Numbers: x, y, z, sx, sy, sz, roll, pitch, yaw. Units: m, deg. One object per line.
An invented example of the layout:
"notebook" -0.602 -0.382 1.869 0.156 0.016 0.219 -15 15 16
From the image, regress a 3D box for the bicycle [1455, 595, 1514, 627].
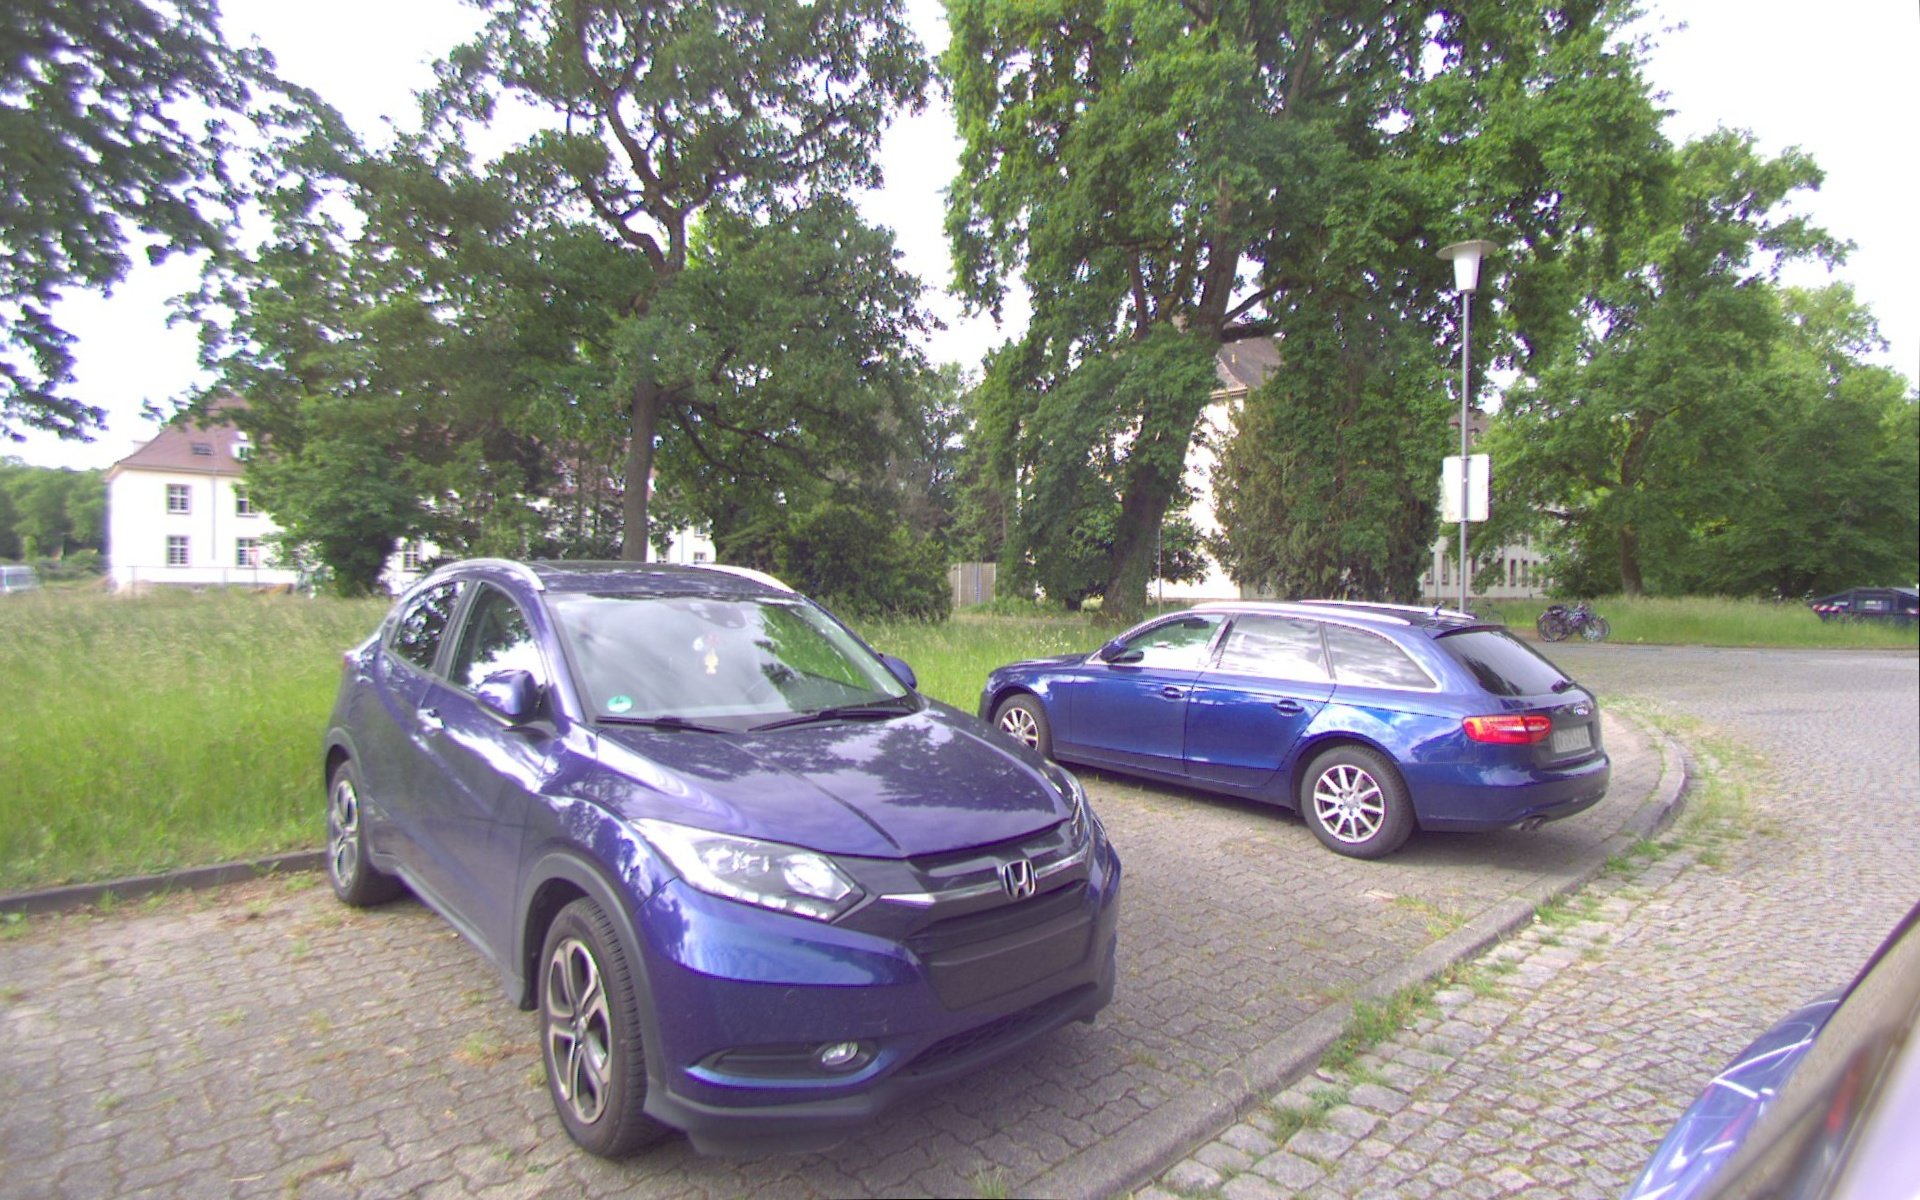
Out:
"bicycle" 19.162 0.386 37.011 1.837 1.137 0.617 0 0 24

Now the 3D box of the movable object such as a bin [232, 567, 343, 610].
"movable object such as a bin" -43.759 -0.773 65.968 5.870 2.688 2.173 -1 0 -39

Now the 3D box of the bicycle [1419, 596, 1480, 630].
"bicycle" 16.534 0.440 34.236 1.837 1.137 0.617 0 0 24

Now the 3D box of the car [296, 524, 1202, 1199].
"car" -1.273 0.586 4.169 1.763 1.591 4.167 -1 2 -43

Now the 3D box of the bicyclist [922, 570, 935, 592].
"bicyclist" -2.483 -1.487 80.601 0.724 1.717 0.761 0 0 40

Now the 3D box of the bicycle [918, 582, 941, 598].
"bicycle" -2.456 -0.792 80.600 0.723 1.244 1.902 0 0 43

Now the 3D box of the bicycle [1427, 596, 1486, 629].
"bicycle" 17.459 0.422 35.637 1.837 1.137 0.617 0 0 24

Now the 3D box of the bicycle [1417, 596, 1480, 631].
"bicycle" 16.241 0.447 33.671 1.837 1.137 0.617 0 0 24

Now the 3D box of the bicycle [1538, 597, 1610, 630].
"bicycle" 20.595 0.443 33.987 2.007 1.090 0.617 0 0 24

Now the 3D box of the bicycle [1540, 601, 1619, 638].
"bicycle" 18.742 0.569 30.659 1.948 1.090 0.584 0 0 20

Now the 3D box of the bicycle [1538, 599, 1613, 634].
"bicycle" 19.505 0.516 32.121 1.948 1.090 0.584 0 0 20

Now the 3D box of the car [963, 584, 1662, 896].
"car" 2.140 0.662 7.283 1.753 1.439 4.479 0 2 -40
